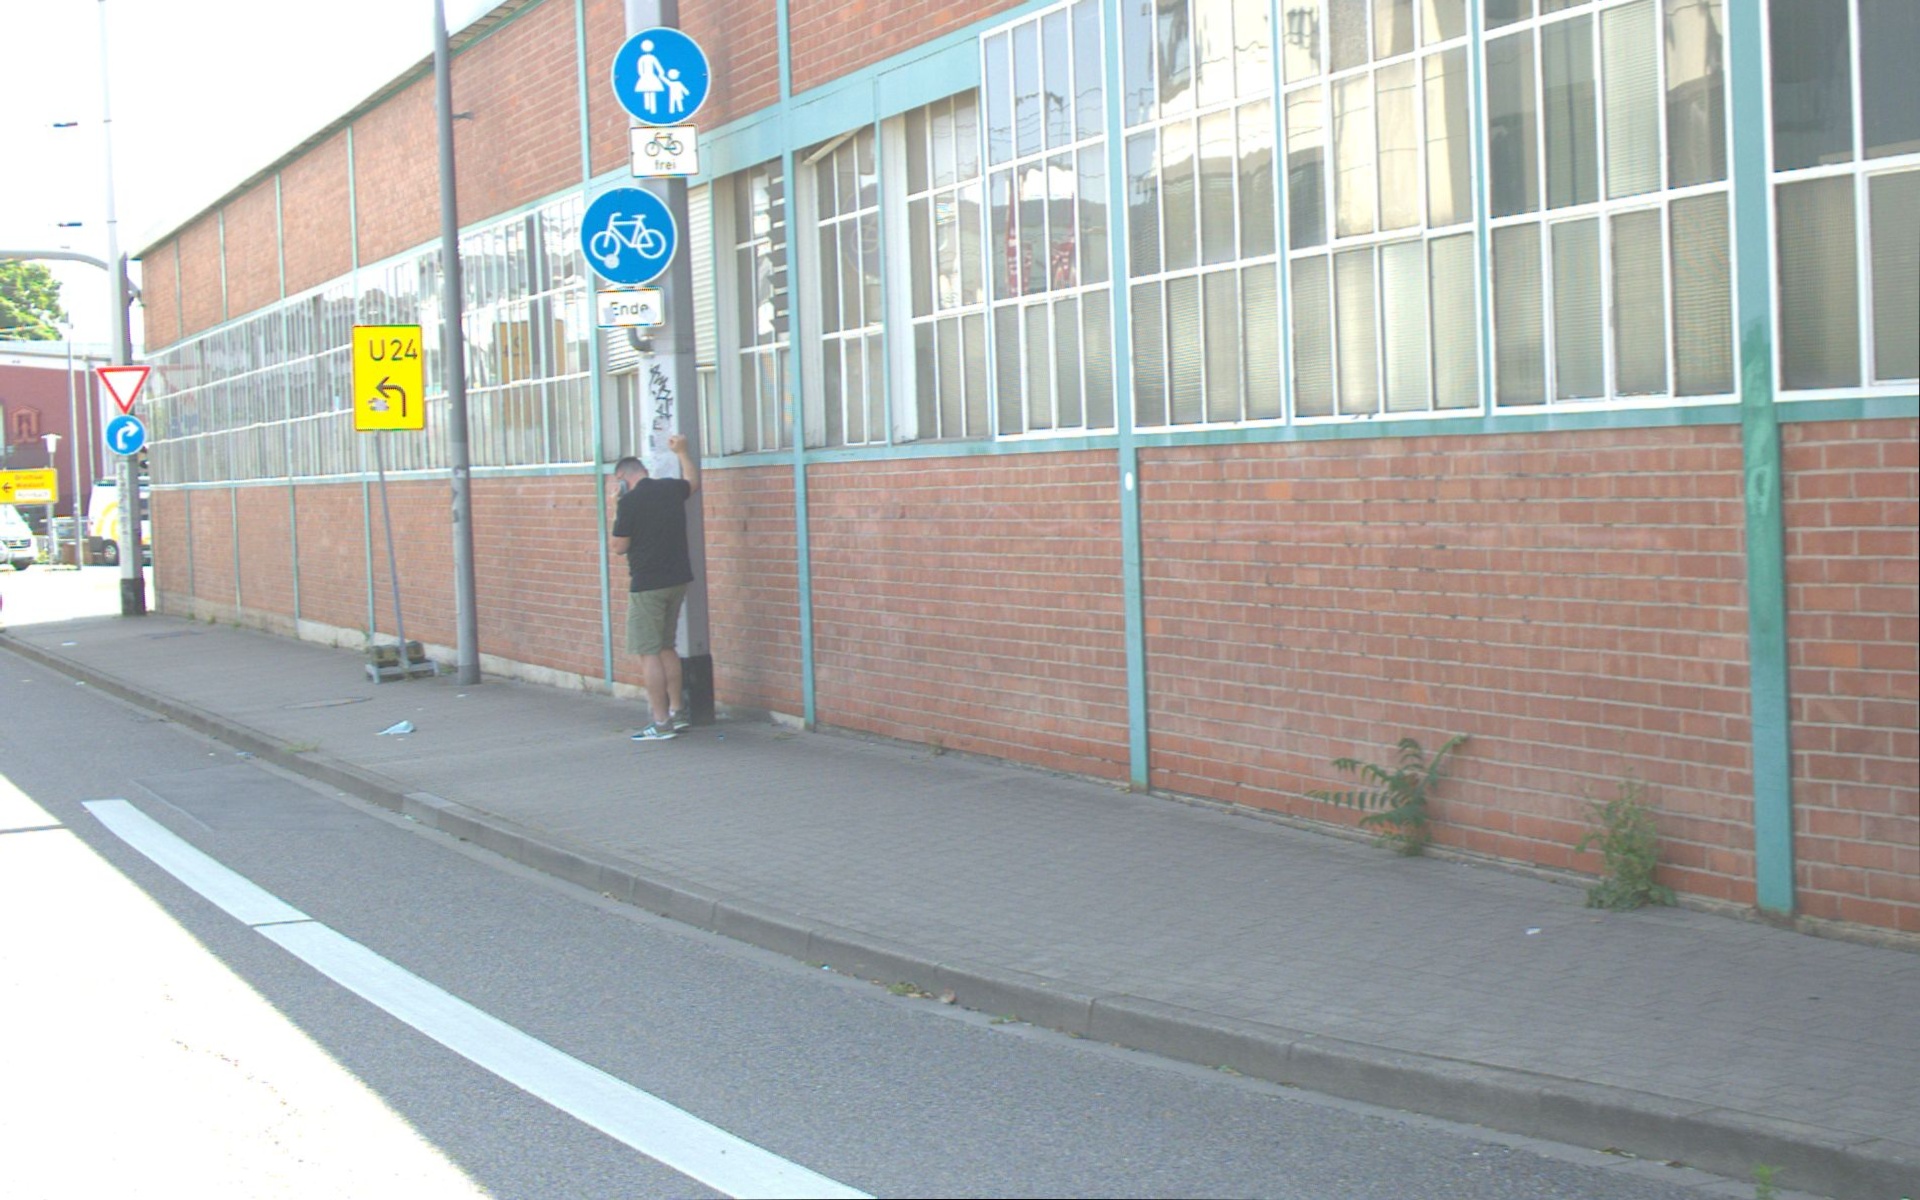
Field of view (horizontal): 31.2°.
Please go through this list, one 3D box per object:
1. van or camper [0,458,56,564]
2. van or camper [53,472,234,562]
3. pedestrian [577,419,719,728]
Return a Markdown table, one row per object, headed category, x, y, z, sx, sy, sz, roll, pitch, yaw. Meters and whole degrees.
| category | x | y | z | sx | sy | sz | roll | pitch | yaw |
| --- | --- | --- | --- | --- | --- | --- | --- | --- | --- |
| van or camper | -29.722 | -2.618 | 99.833 | 6.975 | 2.920 | 2.350 | 1 | 5 | 29 |
| van or camper | -24.657 | -2.536 | 103.724 | 5.380 | 2.431 | 2.285 | 3 | 6 | 35 |
| pedestrian | -1.826 | -0.167 | 20.130 | 0.684 | 1.758 | 0.449 | -3 | 4 | -24 |
